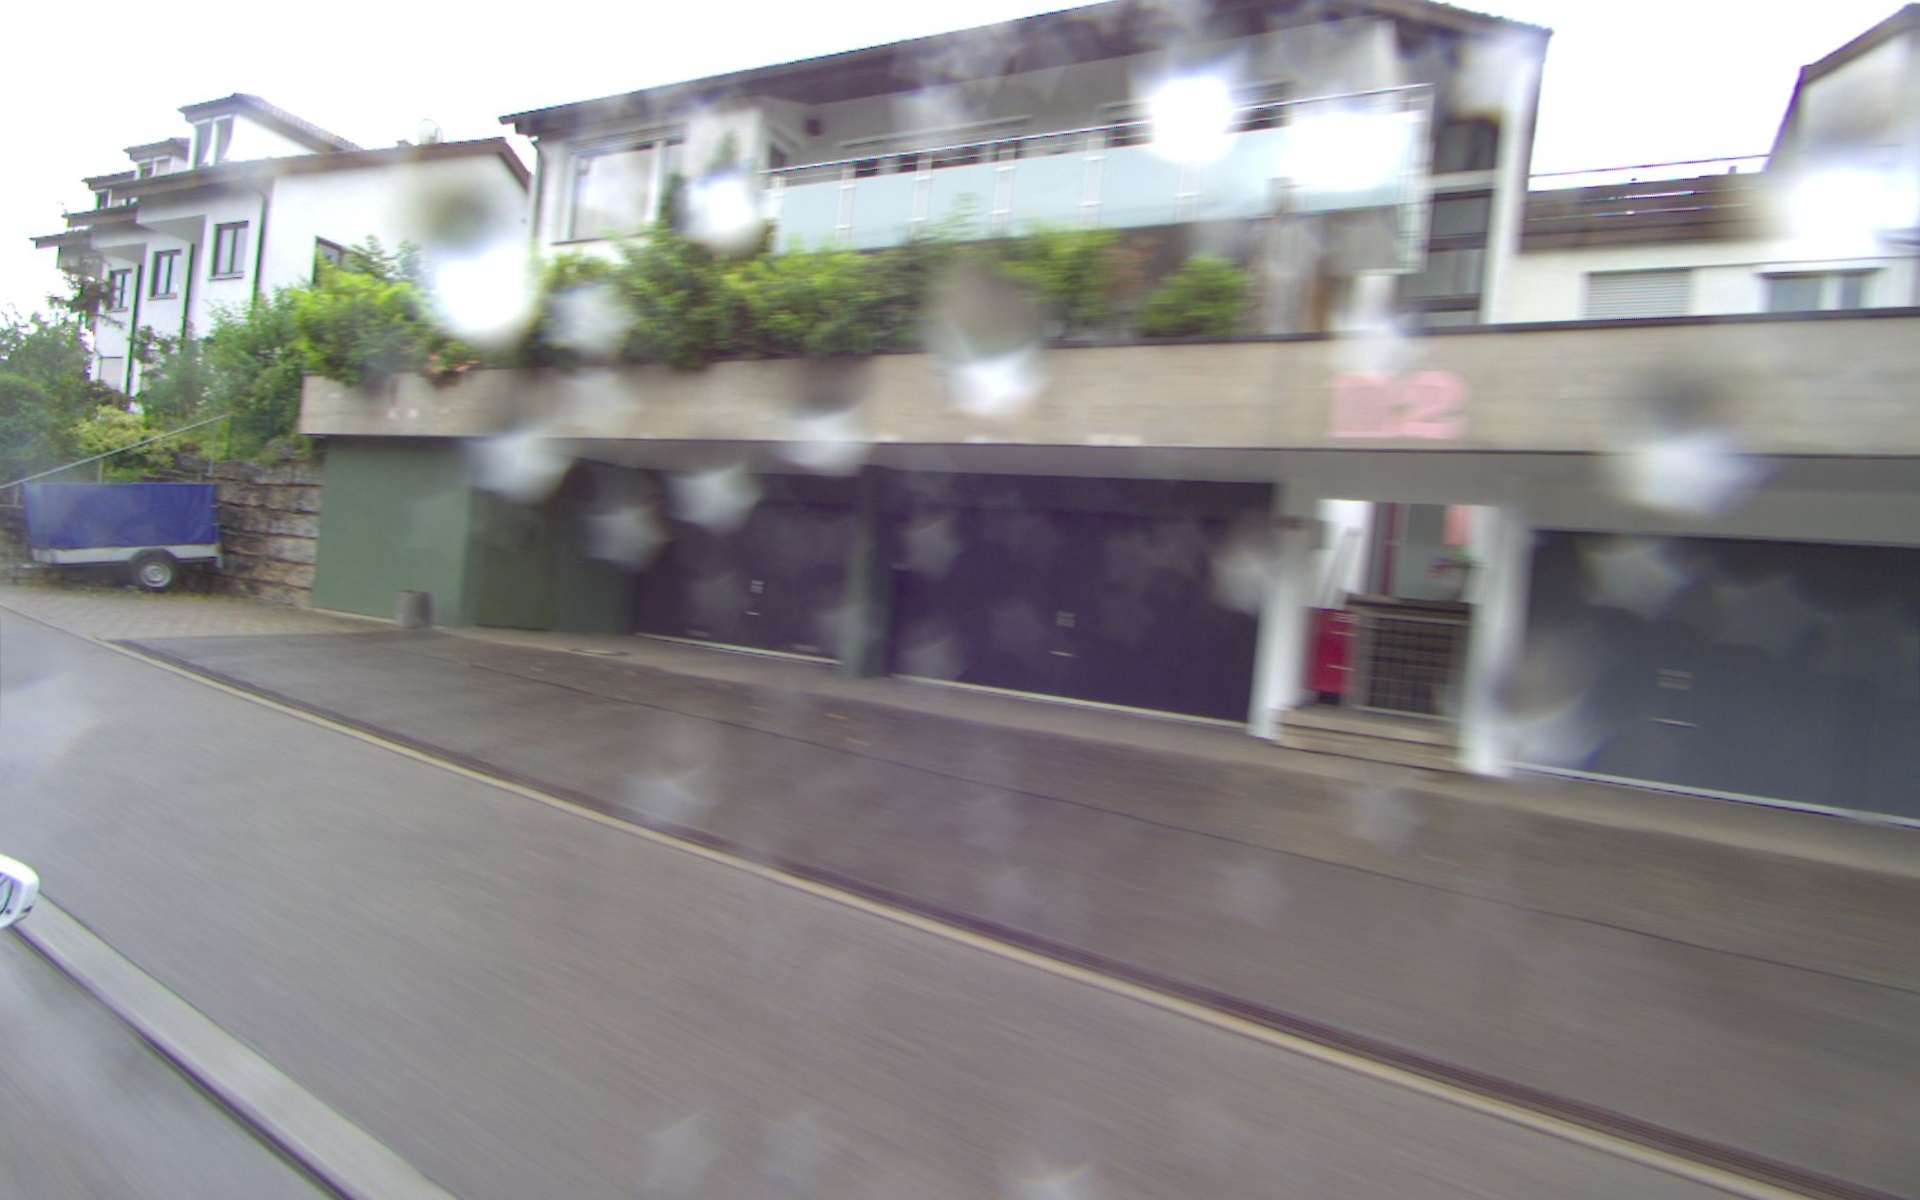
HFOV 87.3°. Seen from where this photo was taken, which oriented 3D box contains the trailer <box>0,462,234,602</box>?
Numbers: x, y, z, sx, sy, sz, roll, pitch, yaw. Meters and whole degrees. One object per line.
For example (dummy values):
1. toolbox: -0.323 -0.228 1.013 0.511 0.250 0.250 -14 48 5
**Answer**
1. trailer: -13.171 -1.035 15.712 1.969 1.769 2.355 7 0 36
